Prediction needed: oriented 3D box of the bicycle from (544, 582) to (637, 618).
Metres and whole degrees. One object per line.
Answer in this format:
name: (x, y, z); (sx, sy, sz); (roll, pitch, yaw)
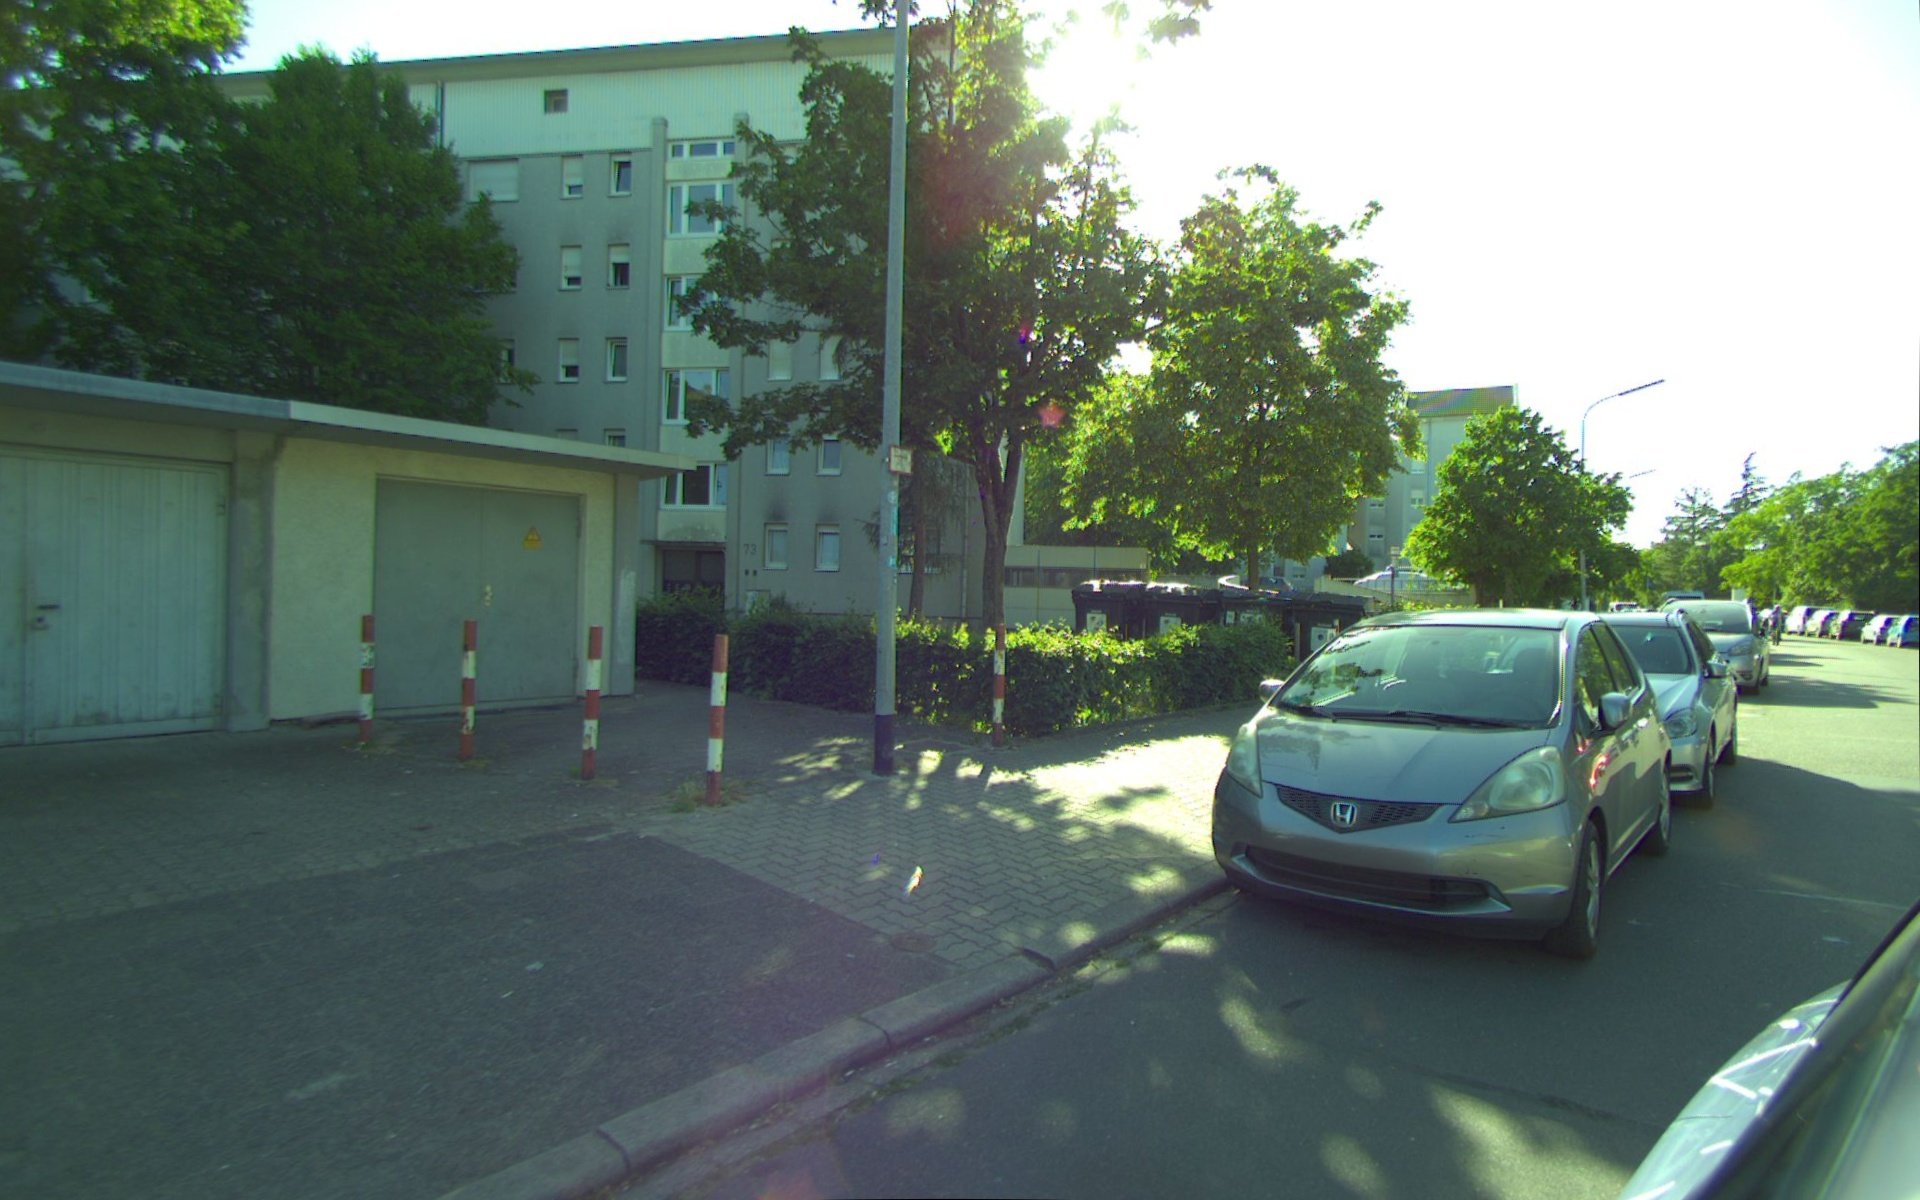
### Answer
bicycle: (-9.933, 0.008, 27.208); (2.378, 0.854, 0.545); (3, 0, 9)

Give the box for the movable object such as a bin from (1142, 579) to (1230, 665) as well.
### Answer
movable object such as a bin: (4.256, 0.389, 19.076); (1.320, 1.556, 1.016); (1, 0, 35)

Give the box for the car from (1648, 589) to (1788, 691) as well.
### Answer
car: (14.134, 0.661, 18.774); (1.753, 1.647, 4.427); (1, 0, 41)

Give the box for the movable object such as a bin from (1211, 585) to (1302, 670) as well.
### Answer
movable object such as a bin: (5.357, 0.477, 18.264); (1.320, 1.449, 1.016); (1, 0, 35)

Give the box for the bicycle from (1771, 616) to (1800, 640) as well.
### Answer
bicycle: (34.295, 1.150, 42.054); (0.819, 0.912, 2.174); (1, 0, 36)

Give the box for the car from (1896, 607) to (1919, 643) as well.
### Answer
car: (42.511, 1.116, 44.426); (1.649, 1.497, 3.066); (3, 2, 35)

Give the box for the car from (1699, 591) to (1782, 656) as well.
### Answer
car: (22.412, 0.636, 29.175); (1.750, 1.695, 4.354); (1, 0, 36)

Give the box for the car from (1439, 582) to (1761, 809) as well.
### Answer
car: (6.092, 0.663, 9.348); (1.829, 1.565, 4.571); (1, 0, 41)

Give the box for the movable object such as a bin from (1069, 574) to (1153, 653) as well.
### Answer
movable object such as a bin: (2.981, 0.244, 19.929); (1.317, 1.500, 1.016); (1, 0, 35)

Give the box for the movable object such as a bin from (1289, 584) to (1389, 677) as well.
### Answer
movable object such as a bin: (6.508, 0.495, 17.365); (1.321, 1.445, 1.057); (4, 2, 35)

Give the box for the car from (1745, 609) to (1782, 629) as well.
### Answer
car: (63.956, 1.504, 80.554); (1.644, 1.453, 3.653); (3, 2, 29)

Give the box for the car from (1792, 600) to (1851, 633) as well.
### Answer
car: (55.188, 1.009, 64.921); (1.870, 1.891, 5.382); (3, 2, 30)

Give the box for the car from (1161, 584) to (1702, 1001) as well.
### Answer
car: (2.882, 0.705, 5.727); (1.803, 1.513, 3.738); (1, 0, 41)

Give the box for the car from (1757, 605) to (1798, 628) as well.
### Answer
car: (60.952, 1.220, 75.491); (1.644, 1.587, 3.653); (3, 2, 29)

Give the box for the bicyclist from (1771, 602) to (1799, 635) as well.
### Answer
bicyclist: (34.411, 0.760, 42.217); (0.808, 1.373, 1.077); (1, 0, 36)

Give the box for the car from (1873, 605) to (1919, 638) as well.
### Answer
car: (45.405, 1.017, 48.603); (1.647, 1.497, 3.692); (3, 2, 33)

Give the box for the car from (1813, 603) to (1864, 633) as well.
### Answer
car: (51.973, 1.032, 59.936); (1.647, 1.650, 3.648); (3, 2, 32)

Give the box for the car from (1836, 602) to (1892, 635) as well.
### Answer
car: (48.977, 0.967, 54.904); (1.648, 1.650, 4.022); (3, 2, 34)
